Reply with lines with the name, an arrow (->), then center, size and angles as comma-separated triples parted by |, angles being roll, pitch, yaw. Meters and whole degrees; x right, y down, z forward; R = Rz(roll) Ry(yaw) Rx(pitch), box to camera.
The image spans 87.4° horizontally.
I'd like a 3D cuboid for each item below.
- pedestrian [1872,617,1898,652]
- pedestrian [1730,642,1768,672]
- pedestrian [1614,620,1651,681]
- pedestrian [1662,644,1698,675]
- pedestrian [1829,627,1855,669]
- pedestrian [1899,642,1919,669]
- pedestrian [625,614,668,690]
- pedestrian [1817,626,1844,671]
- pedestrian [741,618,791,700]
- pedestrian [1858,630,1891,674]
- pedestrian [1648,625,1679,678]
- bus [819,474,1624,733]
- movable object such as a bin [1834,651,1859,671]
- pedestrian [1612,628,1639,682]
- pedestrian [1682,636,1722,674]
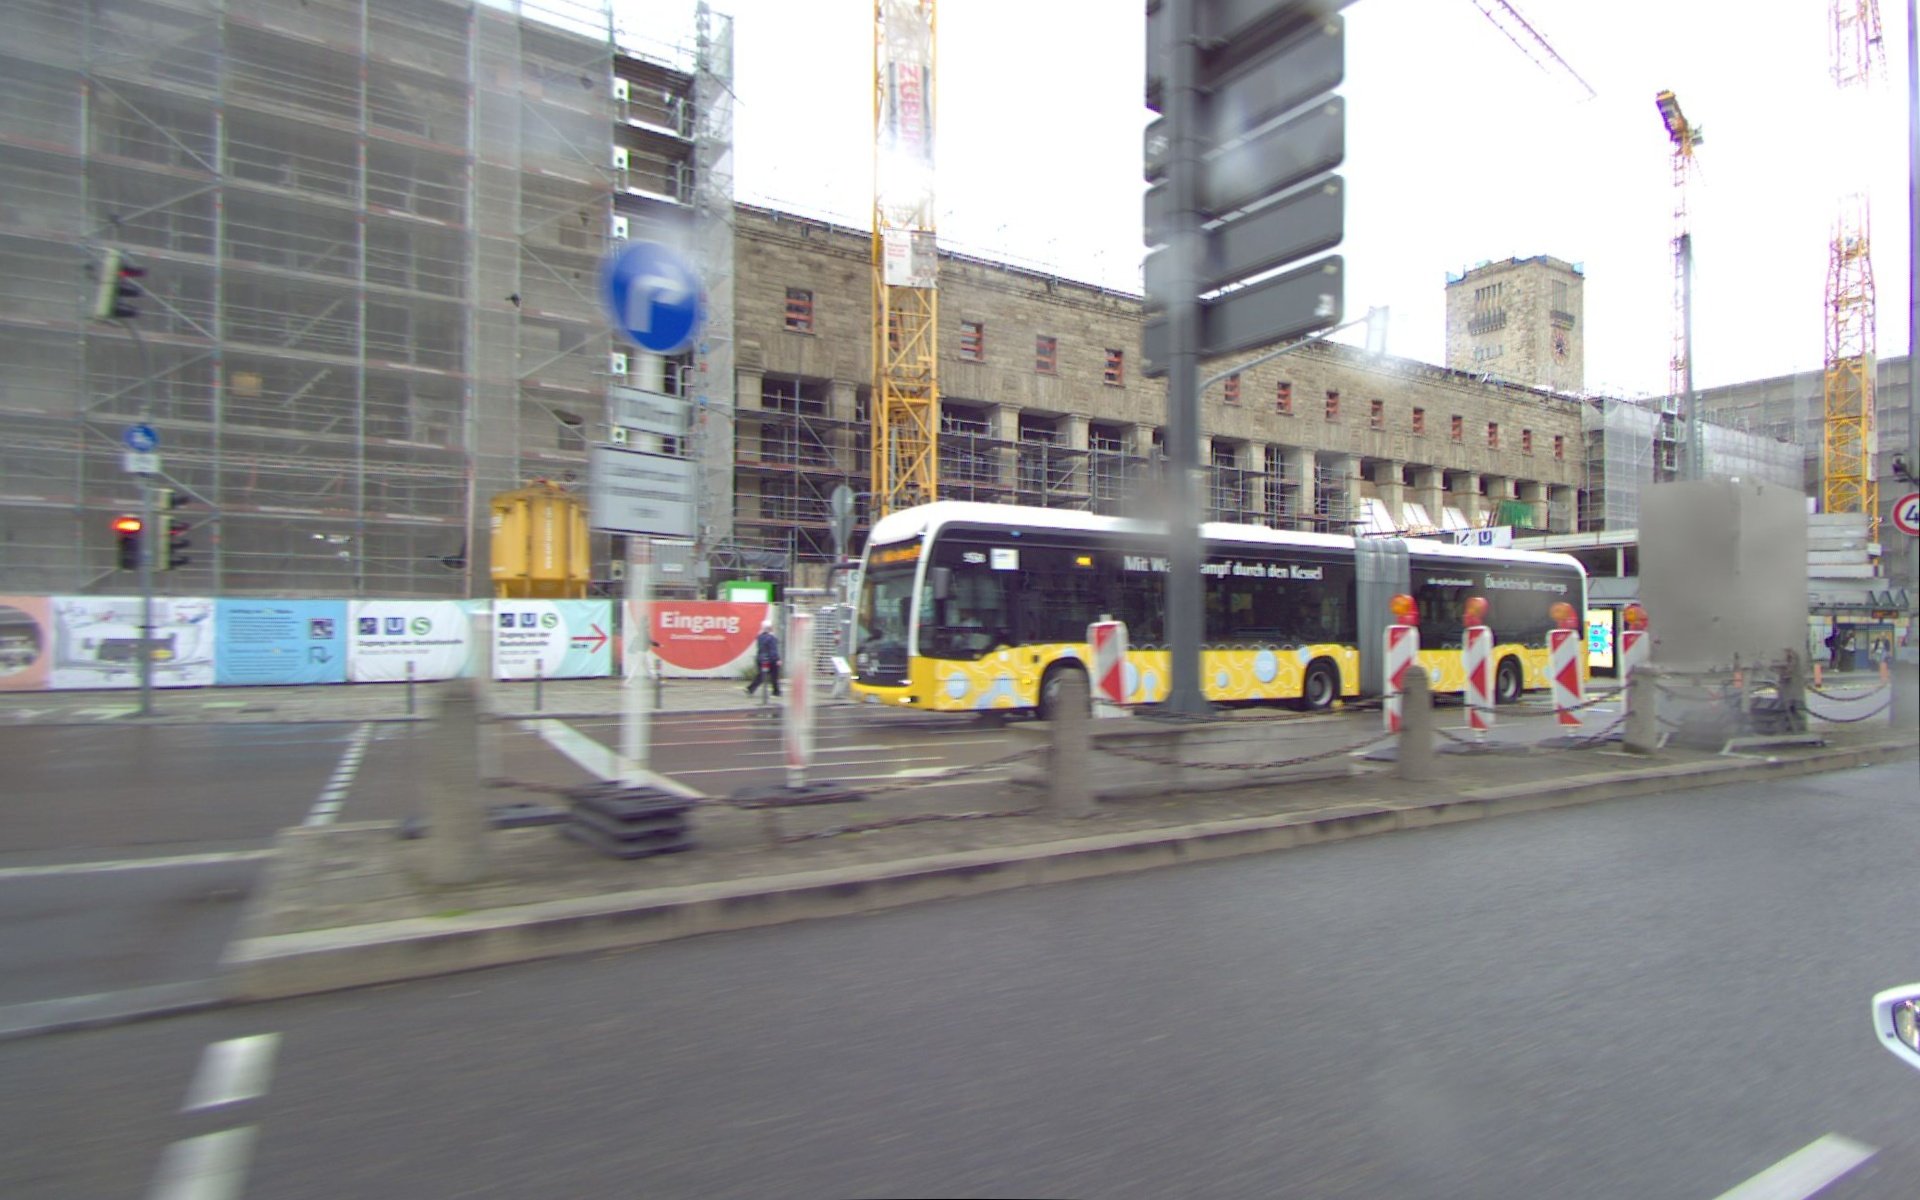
pedestrian -> 49.119, 1.831, 53.344 | 0.689, 1.865, 0.745 | 1, 0, -12
pedestrian -> 32.983, 2.369, 41.996 | 1.043, 1.173, 0.944 | 1, -1, -31
pedestrian -> 22.566, 1.693, 33.719 | 0.814, 1.985, 0.754 | 2, -1, -34
pedestrian -> 27.411, 2.260, 38.229 | 0.916, 1.107, 0.839 | 1, -1, -33
pedestrian -> 39.127, 2.110, 44.566 | 0.769, 1.814, 0.671 | 1, 0, 31
pedestrian -> 48.438, 2.809, 51.158 | 0.797, 1.343, 0.695 | 1, 0, -33
pedestrian -> -7.122, 1.158, 22.820 | 0.860, 1.686, 0.753 | 1, -1, -22
pedestrian -> 37.328, 2.075, 43.076 | 0.664, 1.872, 0.558 | 1, -1, 14
pedestrian -> -3.935, 1.186, 20.359 | 0.860, 1.618, 0.753 | 1, -1, -22
pedestrian -> 38.789, 2.191, 42.611 | 0.848, 1.814, 0.773 | 1, 0, -24
pedestrian -> 24.901, 1.807, 35.552 | 0.741, 1.814, 0.718 | 1, 0, -37
bus -> 6.567, 0.321, 19.985 | 18.849, 3.624, 2.897 | 2, -2, -30
movable object such as a bin -> 37.969, 2.605, 43.014 | 0.621, 0.800, 0.512 | 0, -2, 13
pedestrian -> 23.105, 1.901, 34.861 | 0.799, 1.814, 0.551 | 1, 0, -40
pedestrian -> 29.064, 2.135, 39.355 | 0.822, 1.451, 1.049 | 1, -1, -33
